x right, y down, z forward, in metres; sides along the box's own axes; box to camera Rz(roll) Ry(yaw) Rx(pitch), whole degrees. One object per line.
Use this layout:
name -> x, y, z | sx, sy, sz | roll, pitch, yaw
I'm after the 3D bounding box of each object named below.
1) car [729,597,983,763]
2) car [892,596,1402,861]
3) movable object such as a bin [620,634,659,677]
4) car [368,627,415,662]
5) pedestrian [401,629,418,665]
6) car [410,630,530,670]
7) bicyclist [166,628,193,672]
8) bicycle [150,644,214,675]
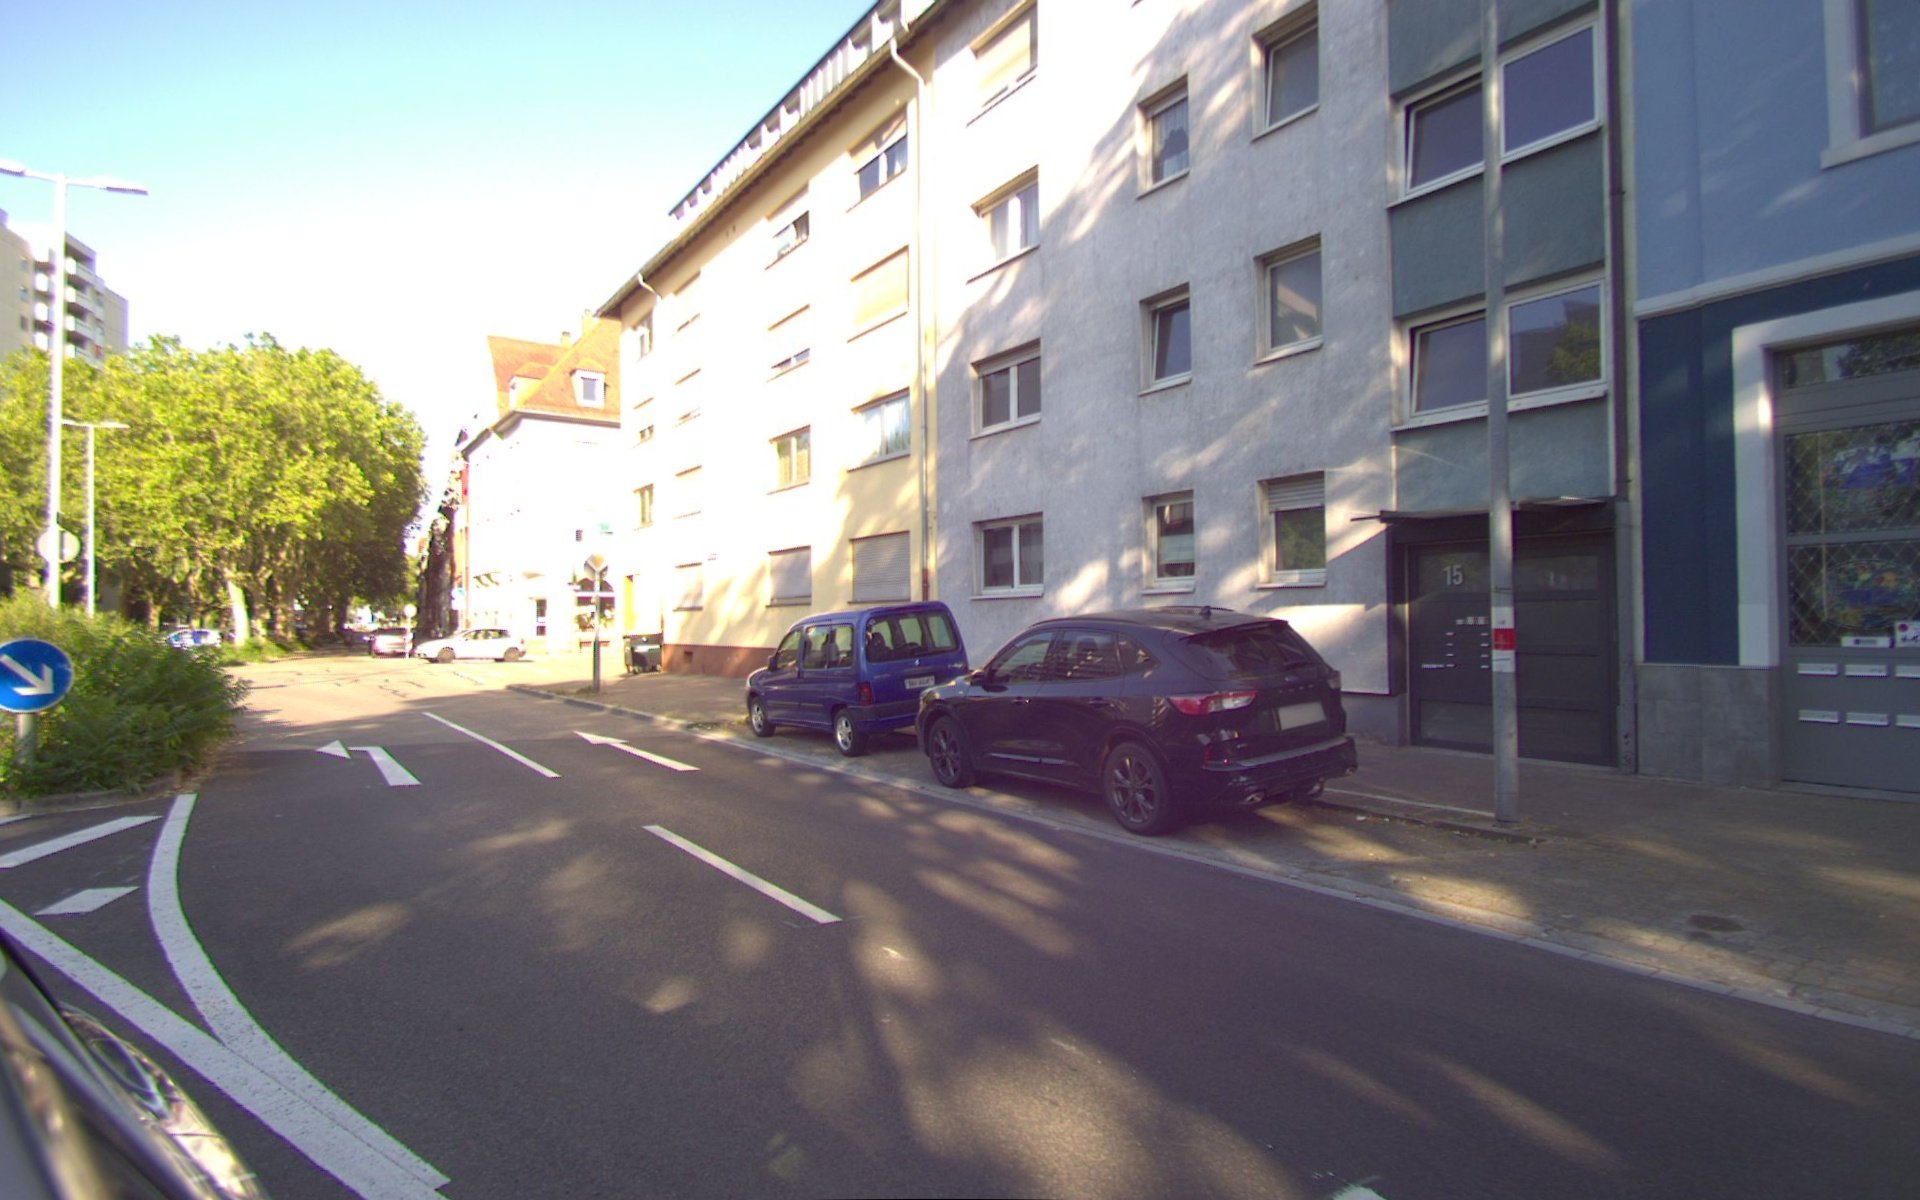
car -> -1.552, 0.958, 13.564 | 1.642, 1.832, 4.015 | -2, -1, -34
car -> 1.309, 0.893, 9.019 | 1.880, 1.685, 4.505 | -2, -1, -32
movable object such as a bin -> -9.811, 1.686, 30.949 | 1.017, 1.296, 1.065 | 0, -2, -24
car -> -30.466, 2.374, 54.207 | 1.868, 1.806, 4.010 | 1, -2, -34
pedestrian -> -27.138, 2.300, 49.892 | 0.662, 1.725, 0.715 | 0, -2, -26
car -> -20.211, 2.039, 41.825 | 4.139, 1.523, 1.804 | 1, -2, -40
bicyclist -> -28.594, 1.814, 37.066 | 0.739, 1.565, 0.631 | 1, -2, -40
bicycle -> -28.518, 2.164, 37.121 | 1.840, 1.098, 0.628 | 1, -2, -40
